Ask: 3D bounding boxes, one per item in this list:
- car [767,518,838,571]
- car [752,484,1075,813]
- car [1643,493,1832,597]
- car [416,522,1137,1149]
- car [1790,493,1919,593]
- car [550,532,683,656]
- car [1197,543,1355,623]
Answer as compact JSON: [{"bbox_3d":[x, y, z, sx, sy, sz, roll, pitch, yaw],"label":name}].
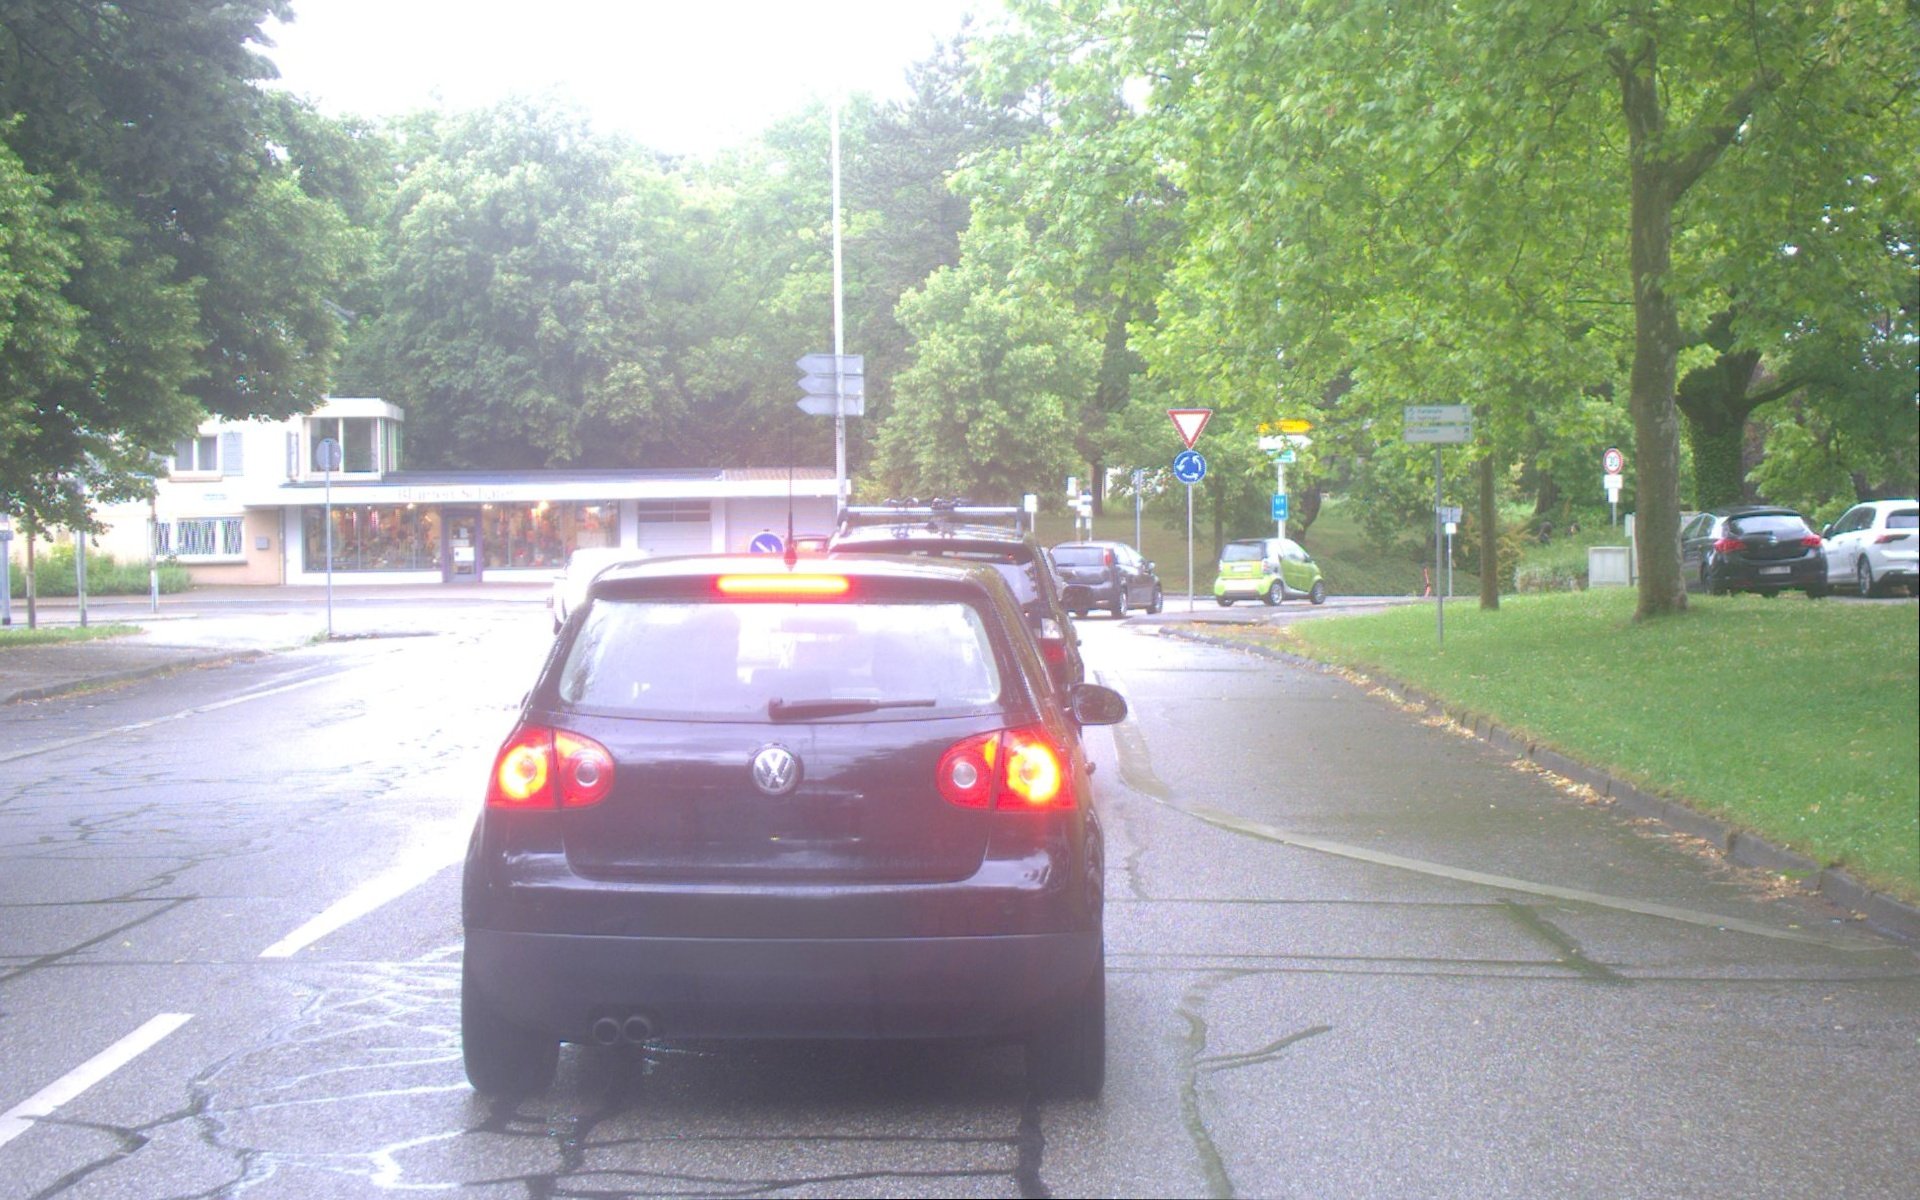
[{"bbox_3d":[-4.685,-1.640,101.735,1.812,1.481,3.832,-2,1,-6],"label":"car"},{"bbox_3d":[-0.283,0.250,21.415,1.764,1.795,4.246,-2,1,-1],"label":"car"},{"bbox_3d":[11.956,-0.837,53.121,1.764,1.466,4.598,-3,1,-1],"label":"car"},{"bbox_3d":[-0.478,0.565,10.523,1.764,1.533,4.000,1,1,-1],"label":"car"},{"bbox_3d":[14.414,-0.884,53.363,1.845,1.466,4.426,-2,1,-2],"label":"car"},{"bbox_3d":[-5.889,-0.124,58.515,1.993,2.007,4.575,1,1,-9],"label":"car"},{"bbox_3d":[7.211,-0.389,78.251,1.818,1.744,3.992,1,1,35],"label":"car"}]
